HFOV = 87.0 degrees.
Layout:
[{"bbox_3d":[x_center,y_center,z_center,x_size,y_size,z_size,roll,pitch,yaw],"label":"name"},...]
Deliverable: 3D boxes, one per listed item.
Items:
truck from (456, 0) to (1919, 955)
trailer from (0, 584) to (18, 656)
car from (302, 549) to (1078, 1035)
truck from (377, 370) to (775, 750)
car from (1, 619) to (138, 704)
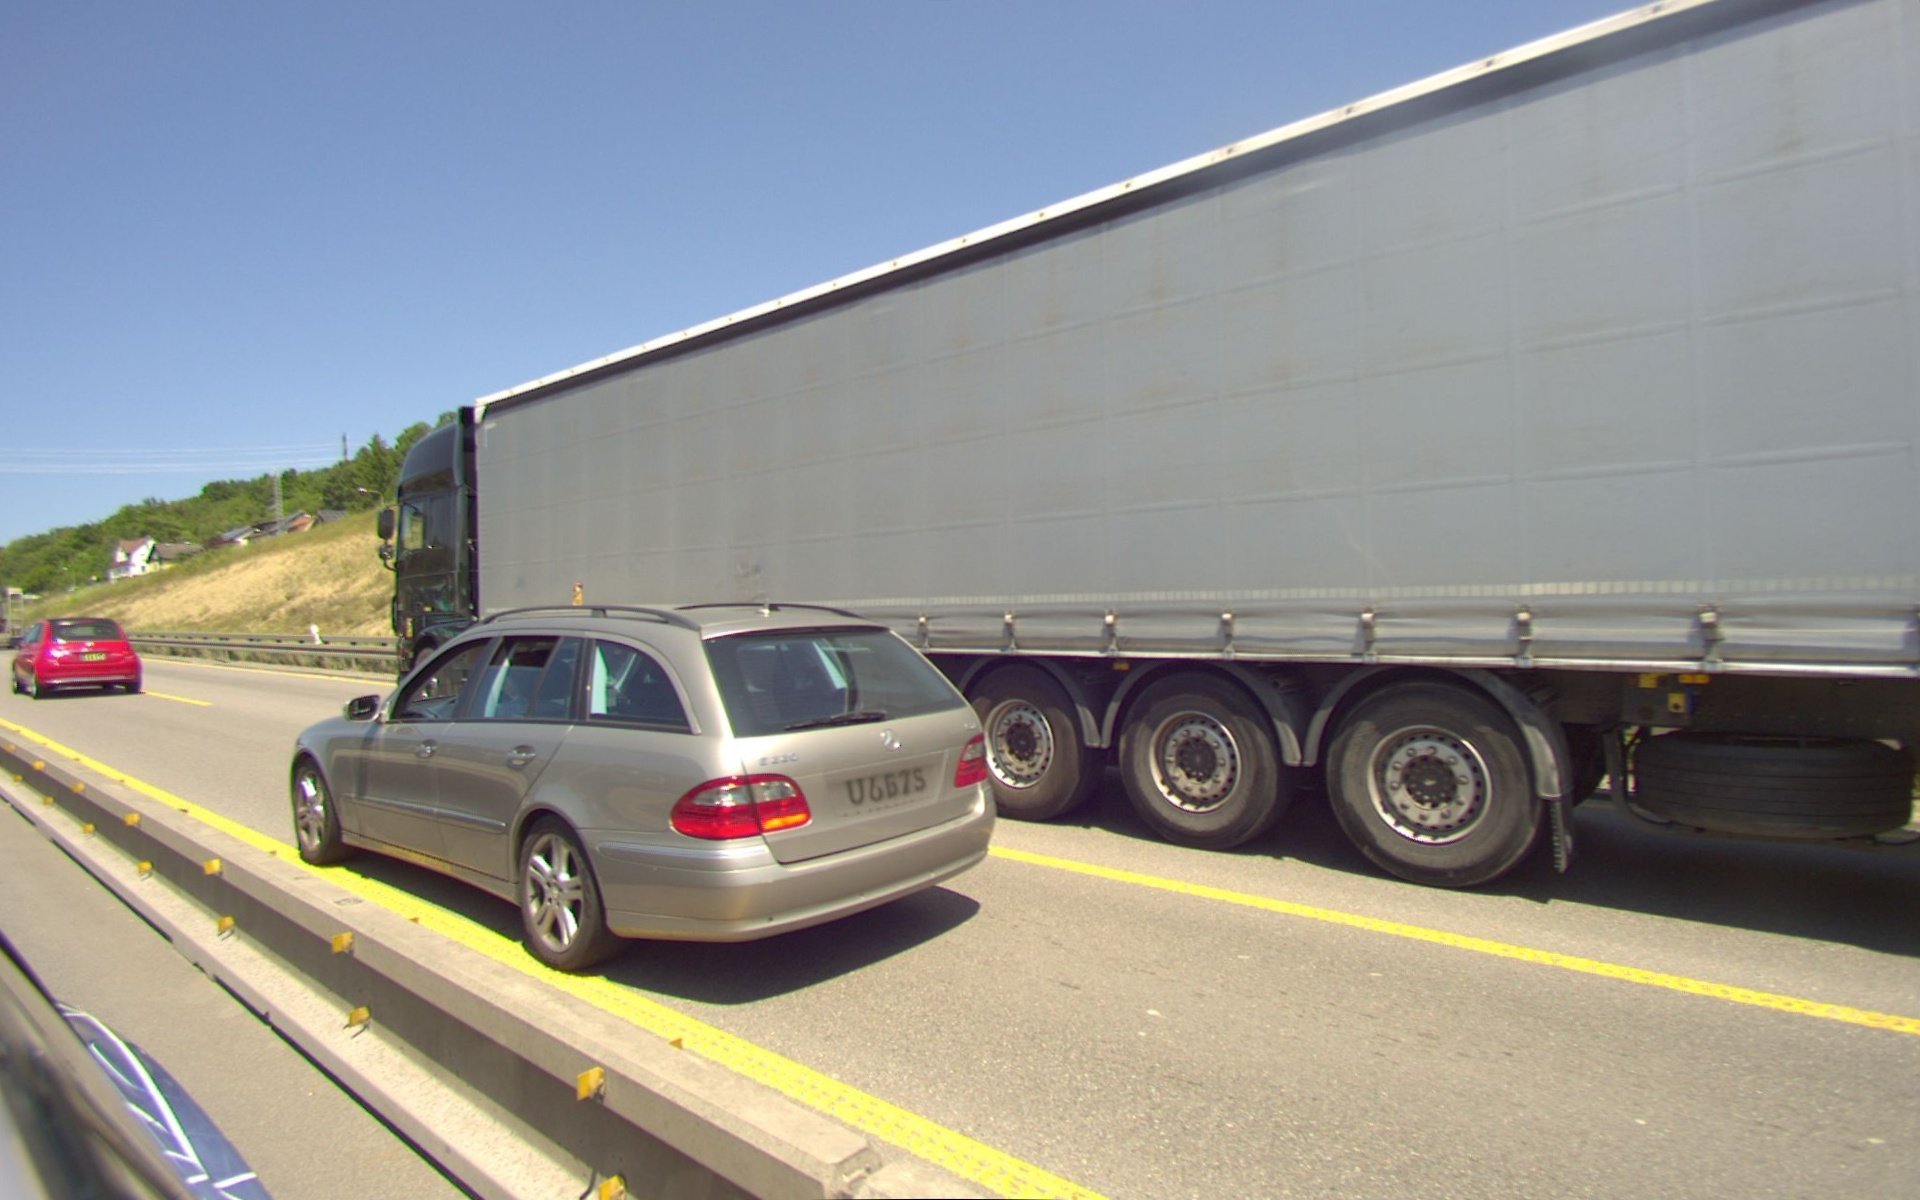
[{"bbox_3d":[0.156,-0.631,8.556,13.797,4.118,2.739,-2,0,41],"label":"truck"},{"bbox_3d":[-52.781,1.117,54.118,9.072,3.665,2.560,-2,-1,41],"label":"trailer"},{"bbox_3d":[-1.650,0.634,5.196,4.193,1.498,1.808,-2,-1,41],"label":"car"},{"bbox_3d":[-5.081,-0.384,13.089,4.961,3.914,2.739,-2,0,41],"label":"truck"},{"bbox_3d":[-17.491,1.146,19.841,3.293,1.498,1.574,-2,-1,41],"label":"car"}]
